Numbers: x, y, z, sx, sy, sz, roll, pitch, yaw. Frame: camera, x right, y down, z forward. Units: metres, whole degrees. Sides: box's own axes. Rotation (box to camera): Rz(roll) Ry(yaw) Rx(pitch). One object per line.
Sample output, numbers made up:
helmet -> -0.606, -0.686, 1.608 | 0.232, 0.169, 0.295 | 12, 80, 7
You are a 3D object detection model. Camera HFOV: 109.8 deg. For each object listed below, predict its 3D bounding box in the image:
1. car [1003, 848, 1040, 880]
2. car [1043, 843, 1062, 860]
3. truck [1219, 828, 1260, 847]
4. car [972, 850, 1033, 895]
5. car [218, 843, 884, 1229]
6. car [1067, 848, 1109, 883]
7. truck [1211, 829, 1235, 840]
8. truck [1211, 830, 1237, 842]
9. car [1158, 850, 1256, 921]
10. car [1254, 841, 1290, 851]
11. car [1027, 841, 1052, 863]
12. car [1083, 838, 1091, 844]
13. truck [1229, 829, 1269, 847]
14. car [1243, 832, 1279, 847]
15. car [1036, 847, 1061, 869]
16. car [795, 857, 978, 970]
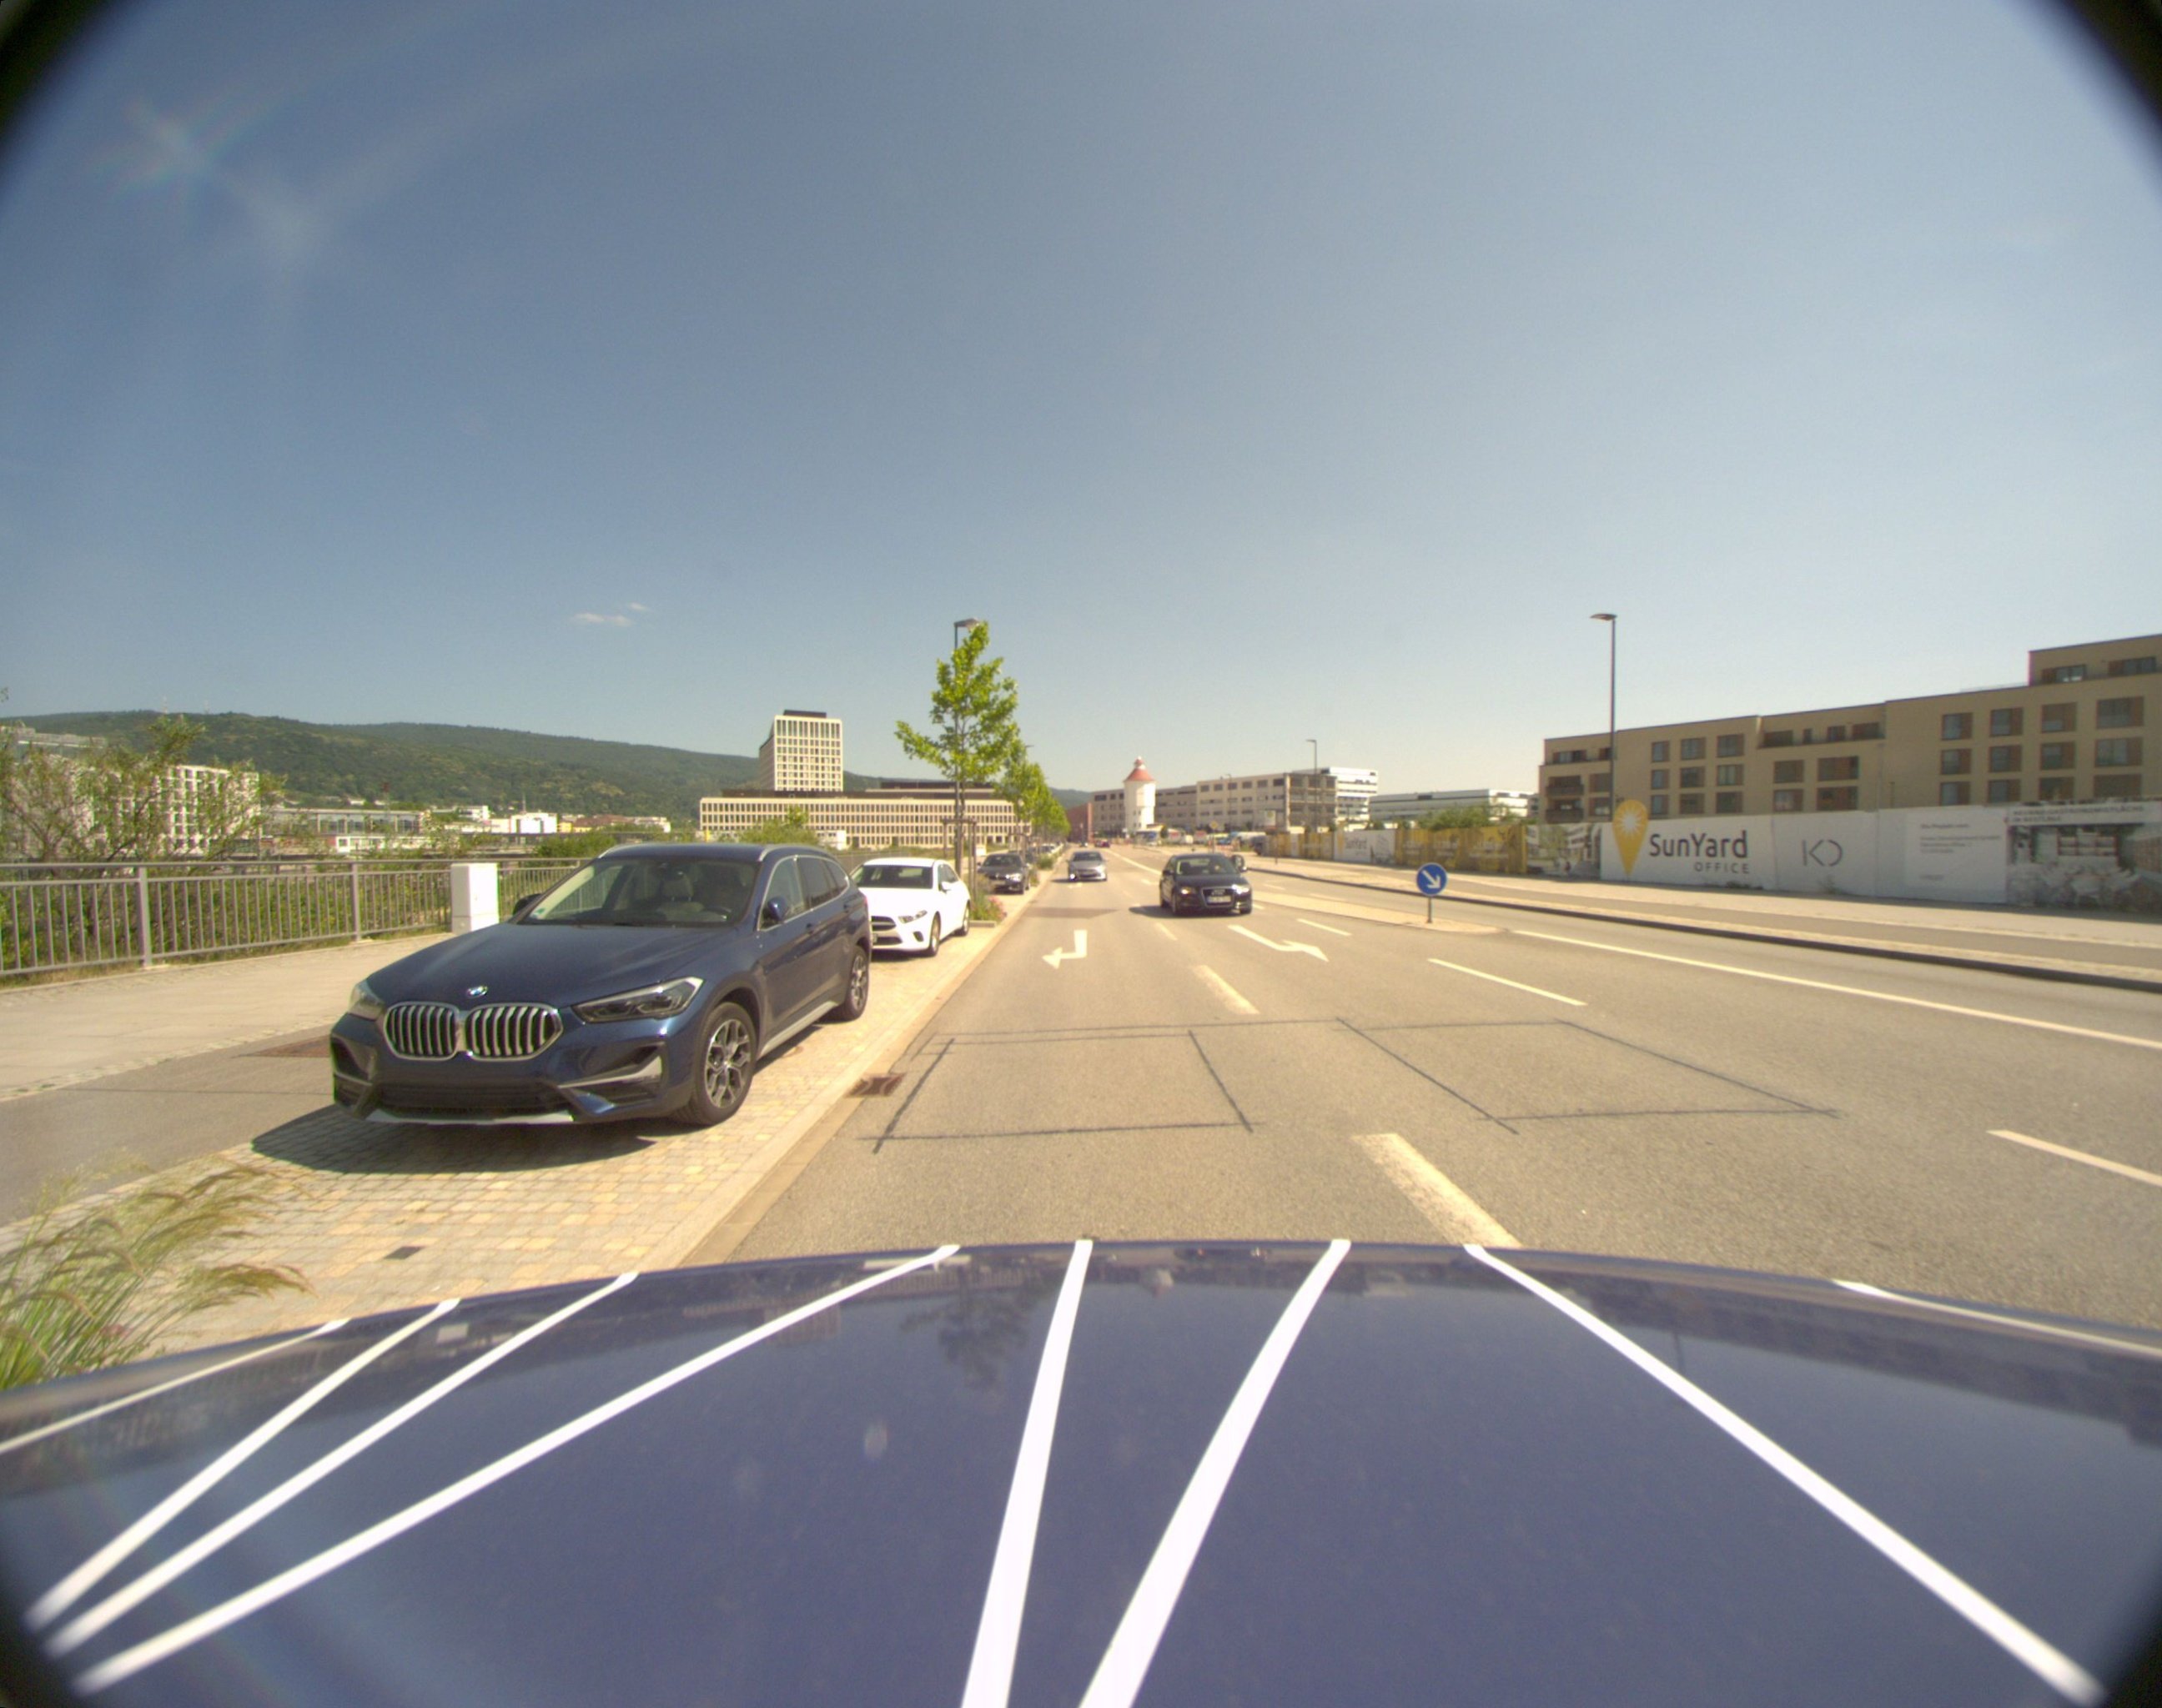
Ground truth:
car -> -2.930, 0.469, 38.122 | 1.569, 1.465, 3.006 | 2, 1, 0
car -> -2.642, -0.283, 70.607 | 1.526, 1.482, 3.504 | -3, 1, 0
truck -> 23.633, -2.457, 113.239 | 5.633, 2.461, 1.999 | -3, 1, -4
car -> -2.800, 0.635, 27.850 | 1.808, 1.424, 3.915 | 2, 1, 0
car -> -2.897, 0.783, 5.503 | 1.808, 1.674, 4.270 | 1, 1, 0
car -> 0.363, 0.497, 36.222 | 1.820, 1.459, 4.346 | -2, 1, 1
truck -> 34.574, -4.752, 185.368 | 5.412, 2.461, 1.999 | -2, 1, -2
truck -> 33.363, -4.183, 177.332 | 5.333, 2.461, 1.999 | -3, 1, -4
car -> 2.919, 0.679, 18.395 | 1.709, 1.404, 3.999 | -3, 1, 1
car -> 19.611, -0.816, 78.068 | 3.359, 0.947, 1.293 | -2, 1, 3
car -> -3.302, -0.185, 61.108 | 1.768, 1.609, 3.373 | -3, 1, 0
car -> 1.522, -3.390, 197.071 | 1.819, 1.458, 4.347 | -3, 1, 2
truck -> 23.377, -2.259, 105.888 | 5.005, 2.215, 1.999 | -2, 1, -1
car -> 22.853, -1.869, 96.504 | 3.930, 1.708, 1.891 | -3, 1, -5
car -> -2.153, 0.234, 50.409 | 1.490, 1.302, 3.154 | 2, 1, 0
car -> -2.918, 0.814, 12.406 | 1.710, 1.366, 4.270 | 2, 1, 2
